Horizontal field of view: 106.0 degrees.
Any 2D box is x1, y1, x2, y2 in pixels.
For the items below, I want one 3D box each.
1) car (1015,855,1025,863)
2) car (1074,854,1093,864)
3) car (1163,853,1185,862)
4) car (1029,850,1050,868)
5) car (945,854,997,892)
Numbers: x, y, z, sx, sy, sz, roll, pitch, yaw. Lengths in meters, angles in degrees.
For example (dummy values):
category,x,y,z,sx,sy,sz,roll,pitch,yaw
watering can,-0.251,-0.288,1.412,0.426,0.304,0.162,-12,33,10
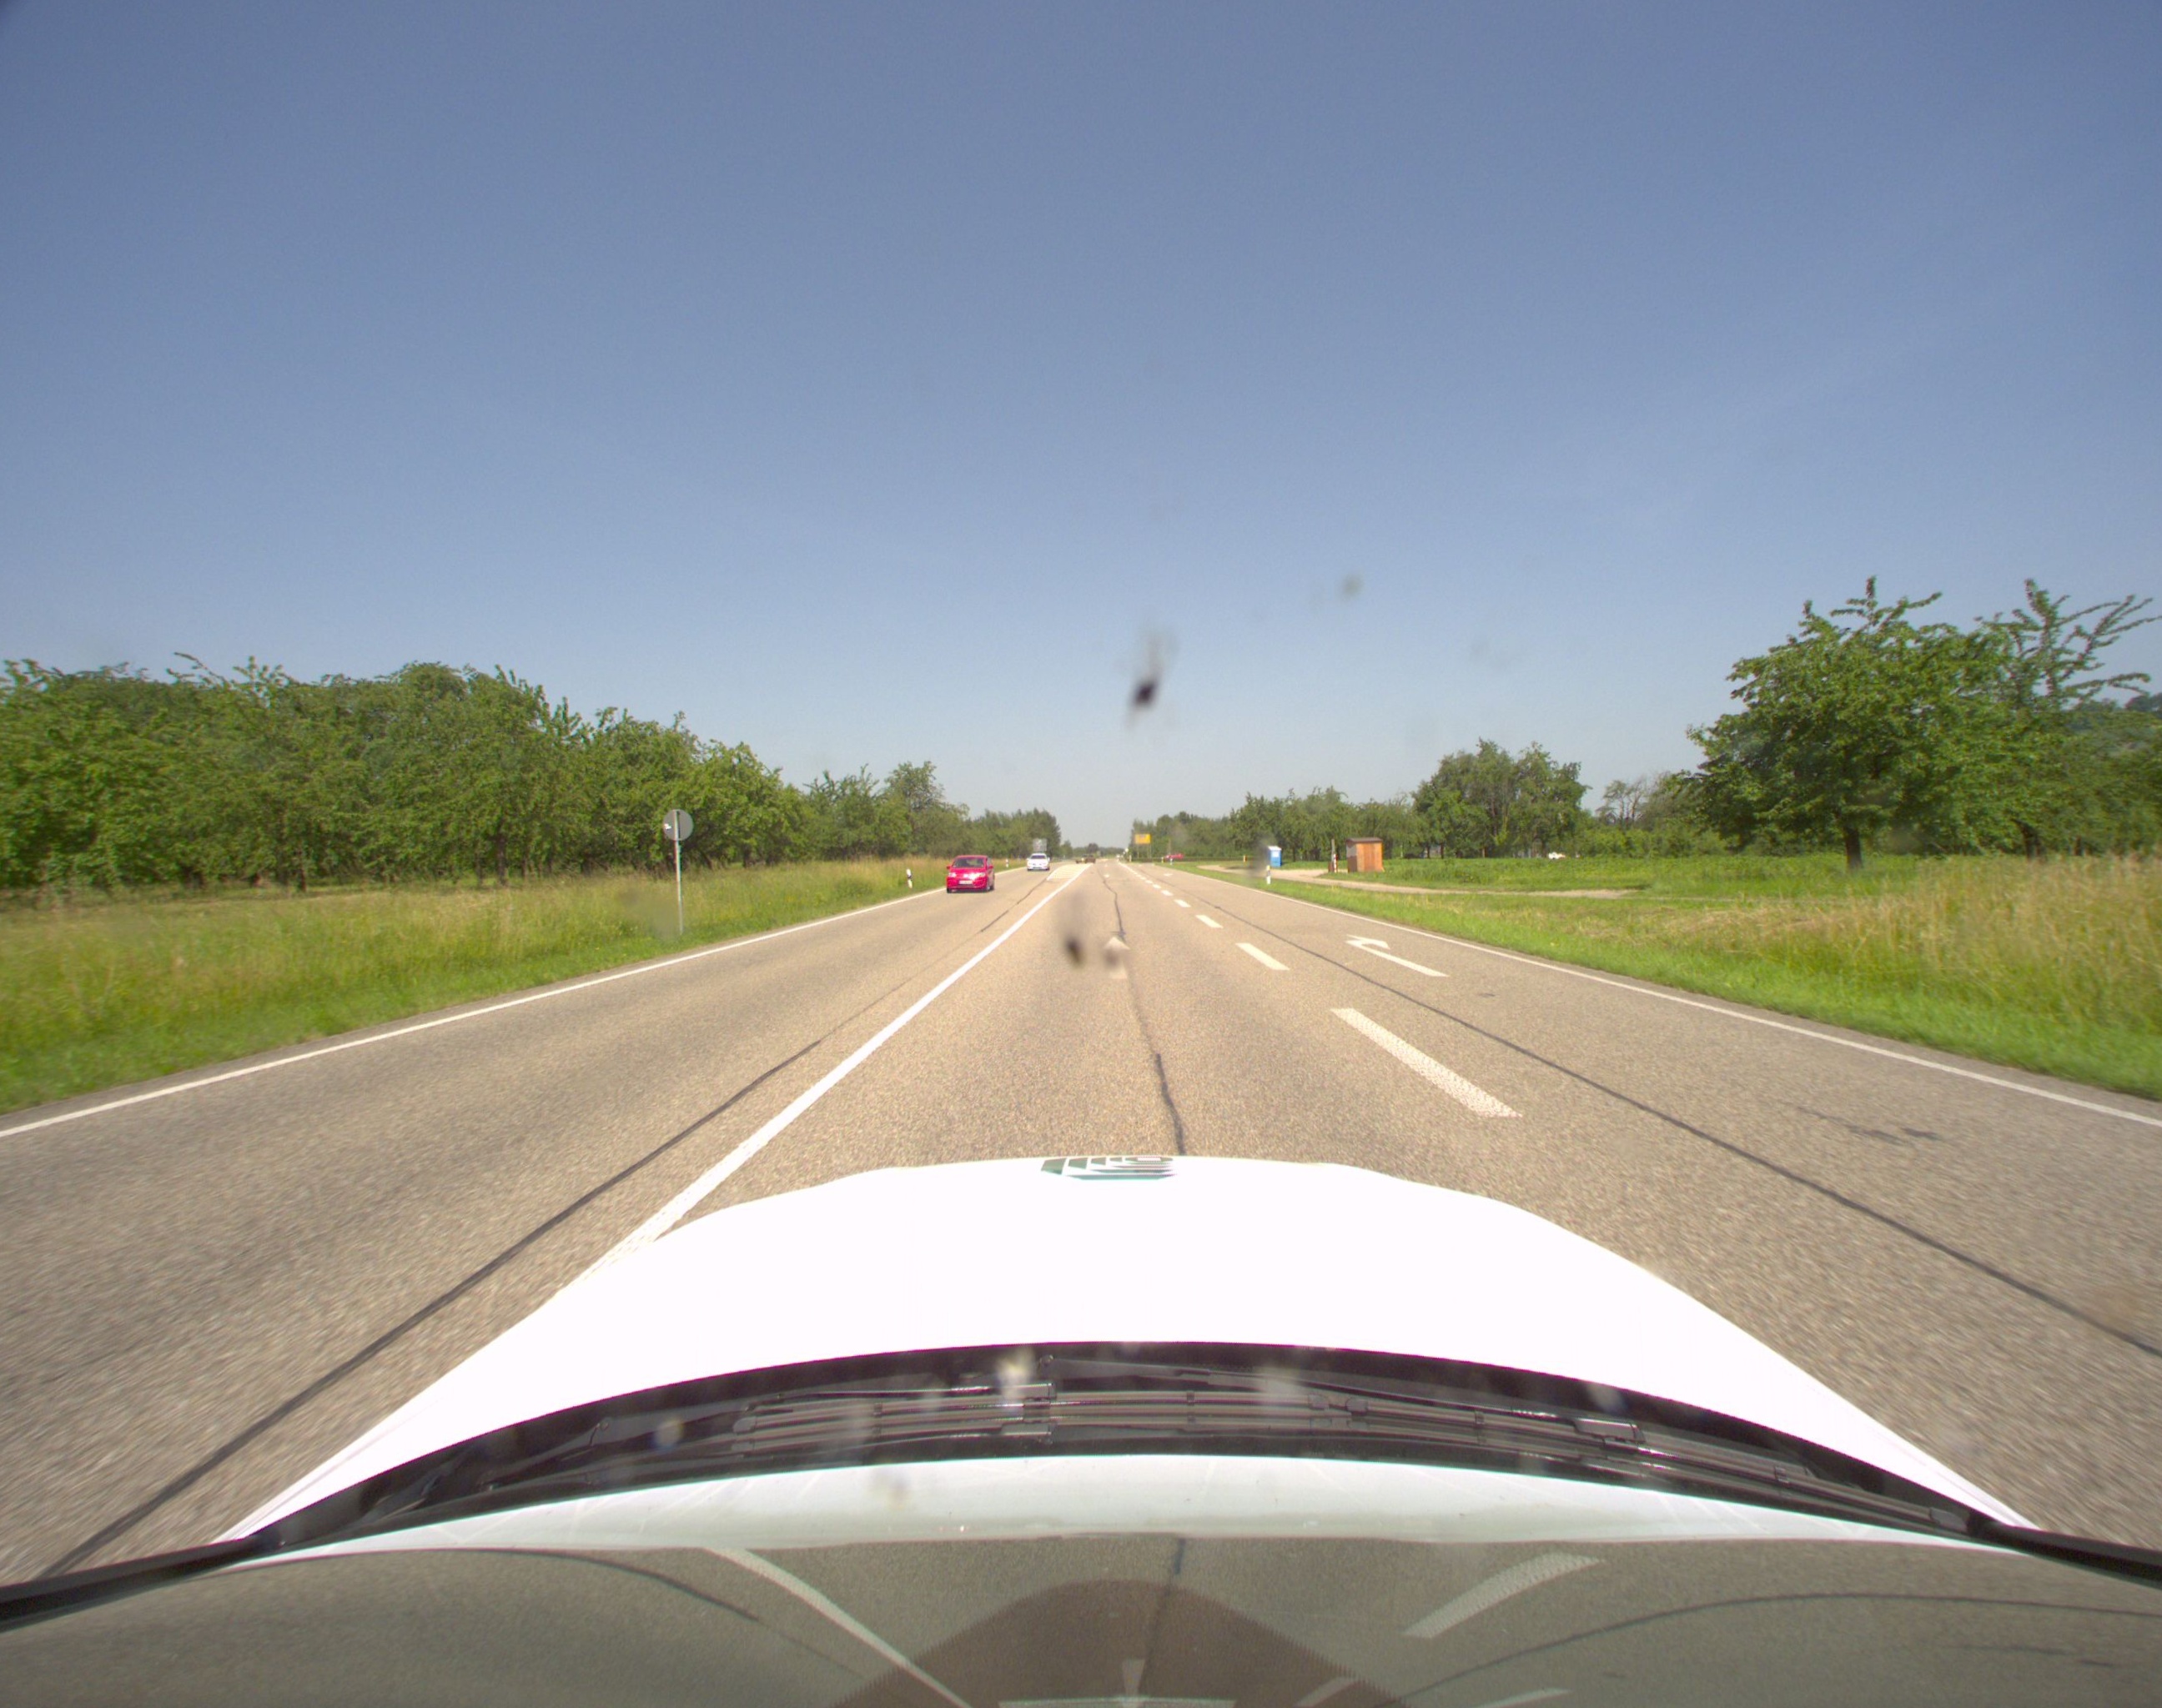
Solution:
category,x,y,z,sx,sy,sz,roll,pitch,yaw
car,-11.175,0.973,149.315,1.700,1.423,4.039,-2,0,-2
car,0.485,0.805,130.124,1.682,1.416,3.846,-1,0,22
car,16.024,0.539,140.406,3.728,1.493,1.671,0,0,-1
car,-3.549,0.411,70.396,1.670,1.494,4.136,-1,0,0
car,-4.424,0.734,33.198,1.620,1.457,3.621,0,0,0
